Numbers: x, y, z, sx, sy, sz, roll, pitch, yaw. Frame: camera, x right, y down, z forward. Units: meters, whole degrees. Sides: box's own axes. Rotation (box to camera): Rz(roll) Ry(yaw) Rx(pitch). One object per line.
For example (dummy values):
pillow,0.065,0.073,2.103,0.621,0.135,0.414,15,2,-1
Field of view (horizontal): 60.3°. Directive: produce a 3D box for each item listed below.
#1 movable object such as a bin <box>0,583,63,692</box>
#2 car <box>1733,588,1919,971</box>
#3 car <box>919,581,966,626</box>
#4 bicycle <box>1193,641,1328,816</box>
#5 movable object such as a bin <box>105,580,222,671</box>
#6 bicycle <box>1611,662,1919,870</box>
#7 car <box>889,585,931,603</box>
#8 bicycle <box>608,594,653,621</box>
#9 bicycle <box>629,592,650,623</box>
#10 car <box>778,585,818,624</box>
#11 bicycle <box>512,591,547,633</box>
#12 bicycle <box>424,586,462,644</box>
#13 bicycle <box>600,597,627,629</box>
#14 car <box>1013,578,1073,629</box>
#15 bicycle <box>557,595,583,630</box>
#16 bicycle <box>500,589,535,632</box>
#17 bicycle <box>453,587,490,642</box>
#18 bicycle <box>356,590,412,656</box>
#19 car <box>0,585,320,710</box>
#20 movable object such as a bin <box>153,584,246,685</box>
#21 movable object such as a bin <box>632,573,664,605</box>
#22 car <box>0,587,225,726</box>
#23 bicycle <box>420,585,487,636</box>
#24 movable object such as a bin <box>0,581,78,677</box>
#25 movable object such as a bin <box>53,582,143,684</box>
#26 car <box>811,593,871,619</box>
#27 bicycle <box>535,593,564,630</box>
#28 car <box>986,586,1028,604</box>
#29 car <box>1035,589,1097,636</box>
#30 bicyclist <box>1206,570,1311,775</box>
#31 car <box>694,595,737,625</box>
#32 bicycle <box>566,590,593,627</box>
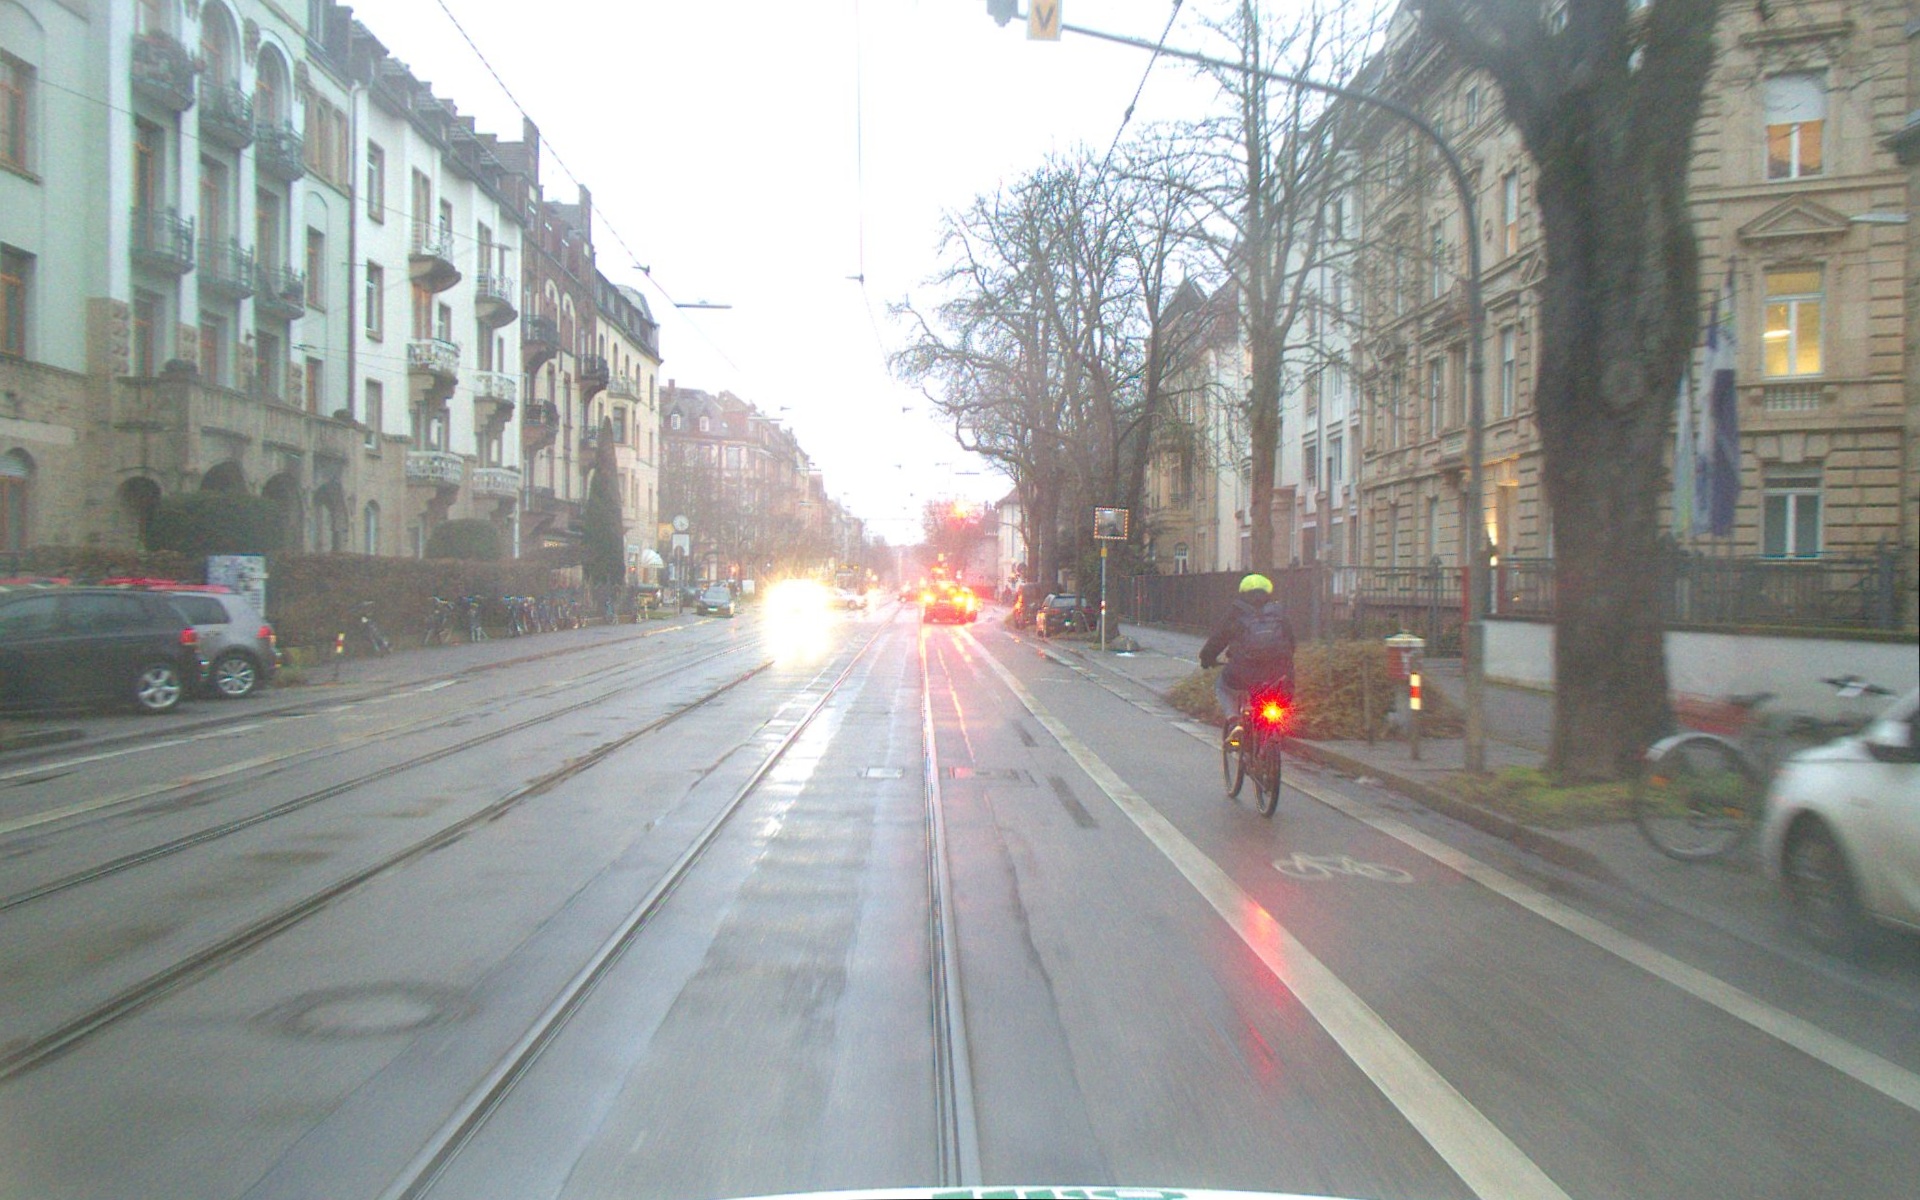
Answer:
movable object such as a bin,-13.662,0.504,23.318,1.236,1.475,1.326,0,1,5
car,4.766,0.748,6.486,1.658,1.546,3.636,0,1,-3
car,-0.824,0.174,74.315,1.953,1.930,4.756,1,-1,-2
bicycle,2.220,0.916,12.449,0.693,1.116,2.030,0,1,1
movable object such as a bin,-13.314,0.406,27.692,1.236,1.475,1.326,0,1,5
bicycle,4.680,0.925,9.431,1.678,1.089,0.663,0,1,-2
car,-4.900,-0.557,161.762,3.902,1.747,1.905,0,1,6
bicycle,-13.562,0.302,68.075,1.771,1.099,0.615,0,1,-9
bicycle,-12.077,0.284,62.292,0.602,1.099,1.809,0,1,-6
car,-8.462,0.206,86.894,2.006,1.955,5.095,0,1,-5
bicycle,-11.757,0.335,45.196,0.679,1.049,1.594,-1,-3,-6
bicycle,-11.422,0.320,36.585,0.618,1.233,1.592,0,1,-11
bicycle,-11.935,0.440,56.948,0.613,1.035,1.805,-1,1,-3
car,3.292,0.090,66.655,1.953,1.933,5.025,0,1,-2
bicycle,-11.773,0.371,50.003,0.680,1.049,1.592,0,0,-11
bicycle,-11.588,0.277,43.342,0.679,1.049,1.591,-1,-3,-8
bicycle,-11.603,0.332,39.317,0.680,1.233,1.592,0,1,-11
bicycle,-11.164,0.432,32.097,0.679,1.233,1.594,0,1,-7
car,-10.881,0.559,22.115,3.971,1.453,1.818,-1,2,-45
movable object such as a bin,-11.626,0.502,25.335,1.246,1.475,1.104,-1,1,-24
movable object such as a bin,-15.779,-0.567,83.585,1.380,1.557,1.364,0,1,-2
car,-10.867,0.615,19.118,1.800,1.496,3.974,1,1,43
bicycle,-13.154,0.277,42.961,1.556,1.286,0.490,-1,-4,2
movable object such as a bin,-15.062,0.442,26.357,1.236,1.475,1.326,0,1,5
movable object such as a bin,-12.921,0.470,24.832,1.074,1.475,1.104,-1,1,-23
car,-8.027,0.397,112.066,3.905,1.758,1.740,0,1,0
bicycle,-11.741,0.330,47.338,0.680,1.049,1.592,0,-1,-11
car,4.632,-0.518,161.128,3.902,1.747,1.905,0,1,7
car,3.496,0.389,55.212,1.644,1.485,4.041,0,1,-2
bicyclist,2.213,0.518,12.335,0.642,1.471,0.849,0,1,1
car,-13.156,0.518,89.286,1.796,1.472,3.999,0,1,-2
bicycle,-11.918,0.251,51.888,0.476,1.118,1.930,-1,1,-3
